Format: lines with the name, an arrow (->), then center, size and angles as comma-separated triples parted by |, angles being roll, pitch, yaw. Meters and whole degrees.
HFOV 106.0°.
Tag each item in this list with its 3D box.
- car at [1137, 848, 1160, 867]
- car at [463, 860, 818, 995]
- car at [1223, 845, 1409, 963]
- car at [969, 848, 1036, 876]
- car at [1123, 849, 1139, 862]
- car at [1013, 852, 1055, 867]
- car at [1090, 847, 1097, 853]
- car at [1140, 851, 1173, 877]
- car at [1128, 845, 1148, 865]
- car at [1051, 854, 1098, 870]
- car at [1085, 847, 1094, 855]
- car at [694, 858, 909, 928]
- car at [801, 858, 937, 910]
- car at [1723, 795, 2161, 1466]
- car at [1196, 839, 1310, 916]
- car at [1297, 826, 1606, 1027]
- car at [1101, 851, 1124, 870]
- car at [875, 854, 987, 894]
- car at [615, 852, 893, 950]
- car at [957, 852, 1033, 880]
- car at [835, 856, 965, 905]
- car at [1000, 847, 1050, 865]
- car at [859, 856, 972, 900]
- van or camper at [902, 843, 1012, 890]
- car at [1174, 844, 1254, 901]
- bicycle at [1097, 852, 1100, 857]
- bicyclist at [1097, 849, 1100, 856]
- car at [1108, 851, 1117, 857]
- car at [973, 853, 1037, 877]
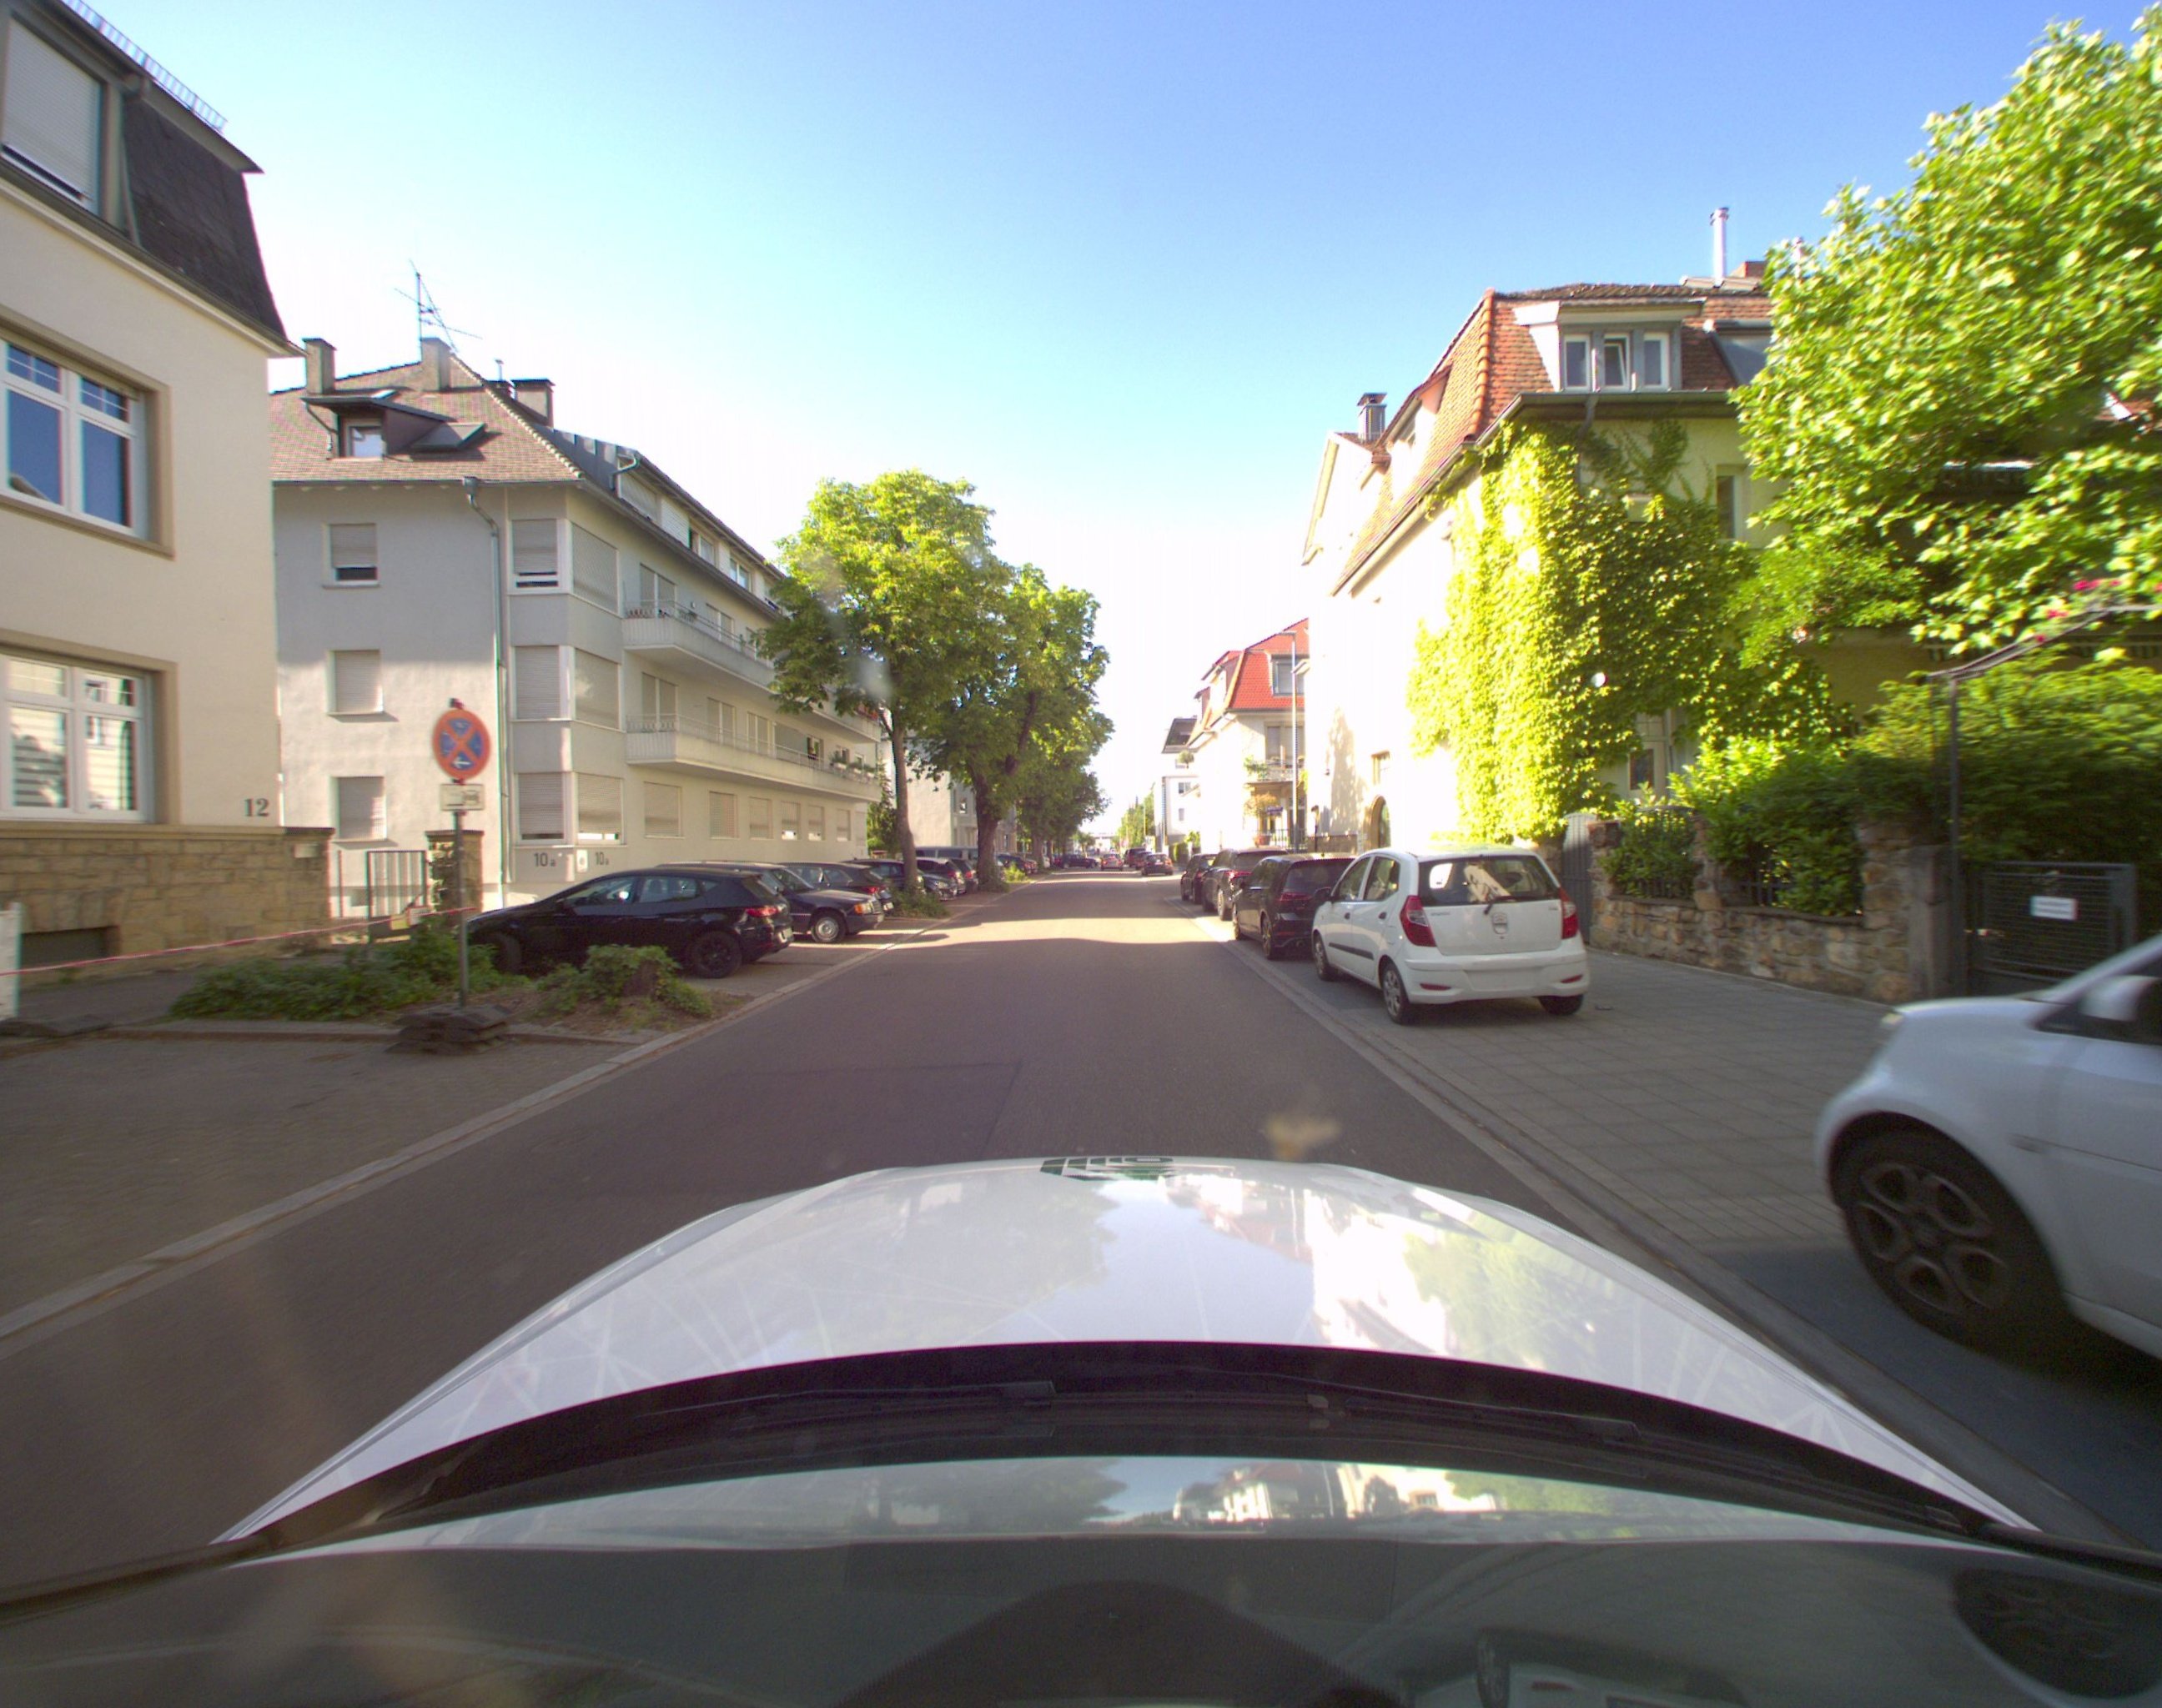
car -> 5.559, 0.281, 67.201 | 1.586, 1.480, 3.248 | -3, 0, 1
car -> -5.885, 0.927, 11.354 | 3.867, 1.514, 1.828 | -2, 0, -8
car -> 3.408, 0.673, 12.661 | 1.703, 1.436, 4.194 | -3, -1, 1
car -> -5.385, 0.543, 56.242 | 4.369, 1.652, 1.824 | -3, 1, 2
car -> 5.970, 0.186, 96.803 | 1.730, 1.531, 4.180 | -2, 0, 2
car -> -4.594, 0.516, 80.327 | 3.973, 1.421, 1.771 | 0, 1, 0
car -> 3.340, -1.075, 212.556 | 1.780, 1.532, 4.002 | 3, 0, 2
car -> 4.671, 0.571, 50.861 | 1.614, 1.439, 3.934 | -4, 0, 0
car -> 5.568, 0.107, 79.933 | 1.864, 1.905, 5.201 | -3, -1, 3
car -> -0.621, 0.755, 78.321 | 4.204, 1.448, 1.700 | 1, -1, -21
car -> 2.005, -0.654, 189.269 | 1.868, 1.728, 3.996 | -2, 0, -3
car -> -6.131, 0.834, 18.179 | 4.173, 1.441, 1.713 | 0, 0, 0
car -> -5.968, 0.848, 23.266 | 3.471, 1.420, 1.708 | 0, -1, -4
car -> 3.300, 0.632, 1.742 | 1.619, 1.549, 2.870 | 0, -1, 1
car -> 3.879, 0.511, 19.055 | 1.785, 1.520, 4.368 | -3, -1, 1
car -> 3.446, 0.604, 8.306 | 1.570, 1.549, 3.469 | -3, -1, 1
car -> 2.552, 0.520, 65.337 | 1.719, 1.420, 3.963 | -2, 0, 3
car -> -5.594, 0.748, 30.788 | 3.910, 1.414, 1.715 | 0, 1, -1
car -> -6.094, 0.842, 15.686 | 4.585, 1.607, 1.828 | -2, 0, -8
car -> -5.007, 0.711, 47.923 | 4.173, 1.498, 1.861 | -2, 0, 0
car -> -5.642, 0.796, 25.630 | 3.628, 1.463, 1.712 | 0, 0, 3
car -> -4.639, 0.149, 68.255 | 4.008, 1.484, 1.807 | 1, 0, 1
car -> -5.654, 0.818, 28.162 | 3.464, 1.458, 1.799 | 0, 0, 2
van or camper -> -5.422, 0.529, 36.068 | 4.480, 1.914, 1.965 | -1, 0, 1
car -> 3.963, 0.553, 24.911 | 1.657, 1.520, 3.999 | -3, -1, -1
bicycle -> 3.892, 0.177, 180.649 | 0.716, 1.079, 1.892 | -2, 0, 2
bicyclist -> 3.938, -0.388, 180.750 | 0.718, 1.537, 1.137 | -2, 0, 2
car -> 7.449, -0.087, 191.566 | 1.718, 1.330, 3.996 | -2, 0, -3
car -> -4.935, 0.701, 53.098 | 3.973, 1.468, 1.697 | -2, 0, 1
